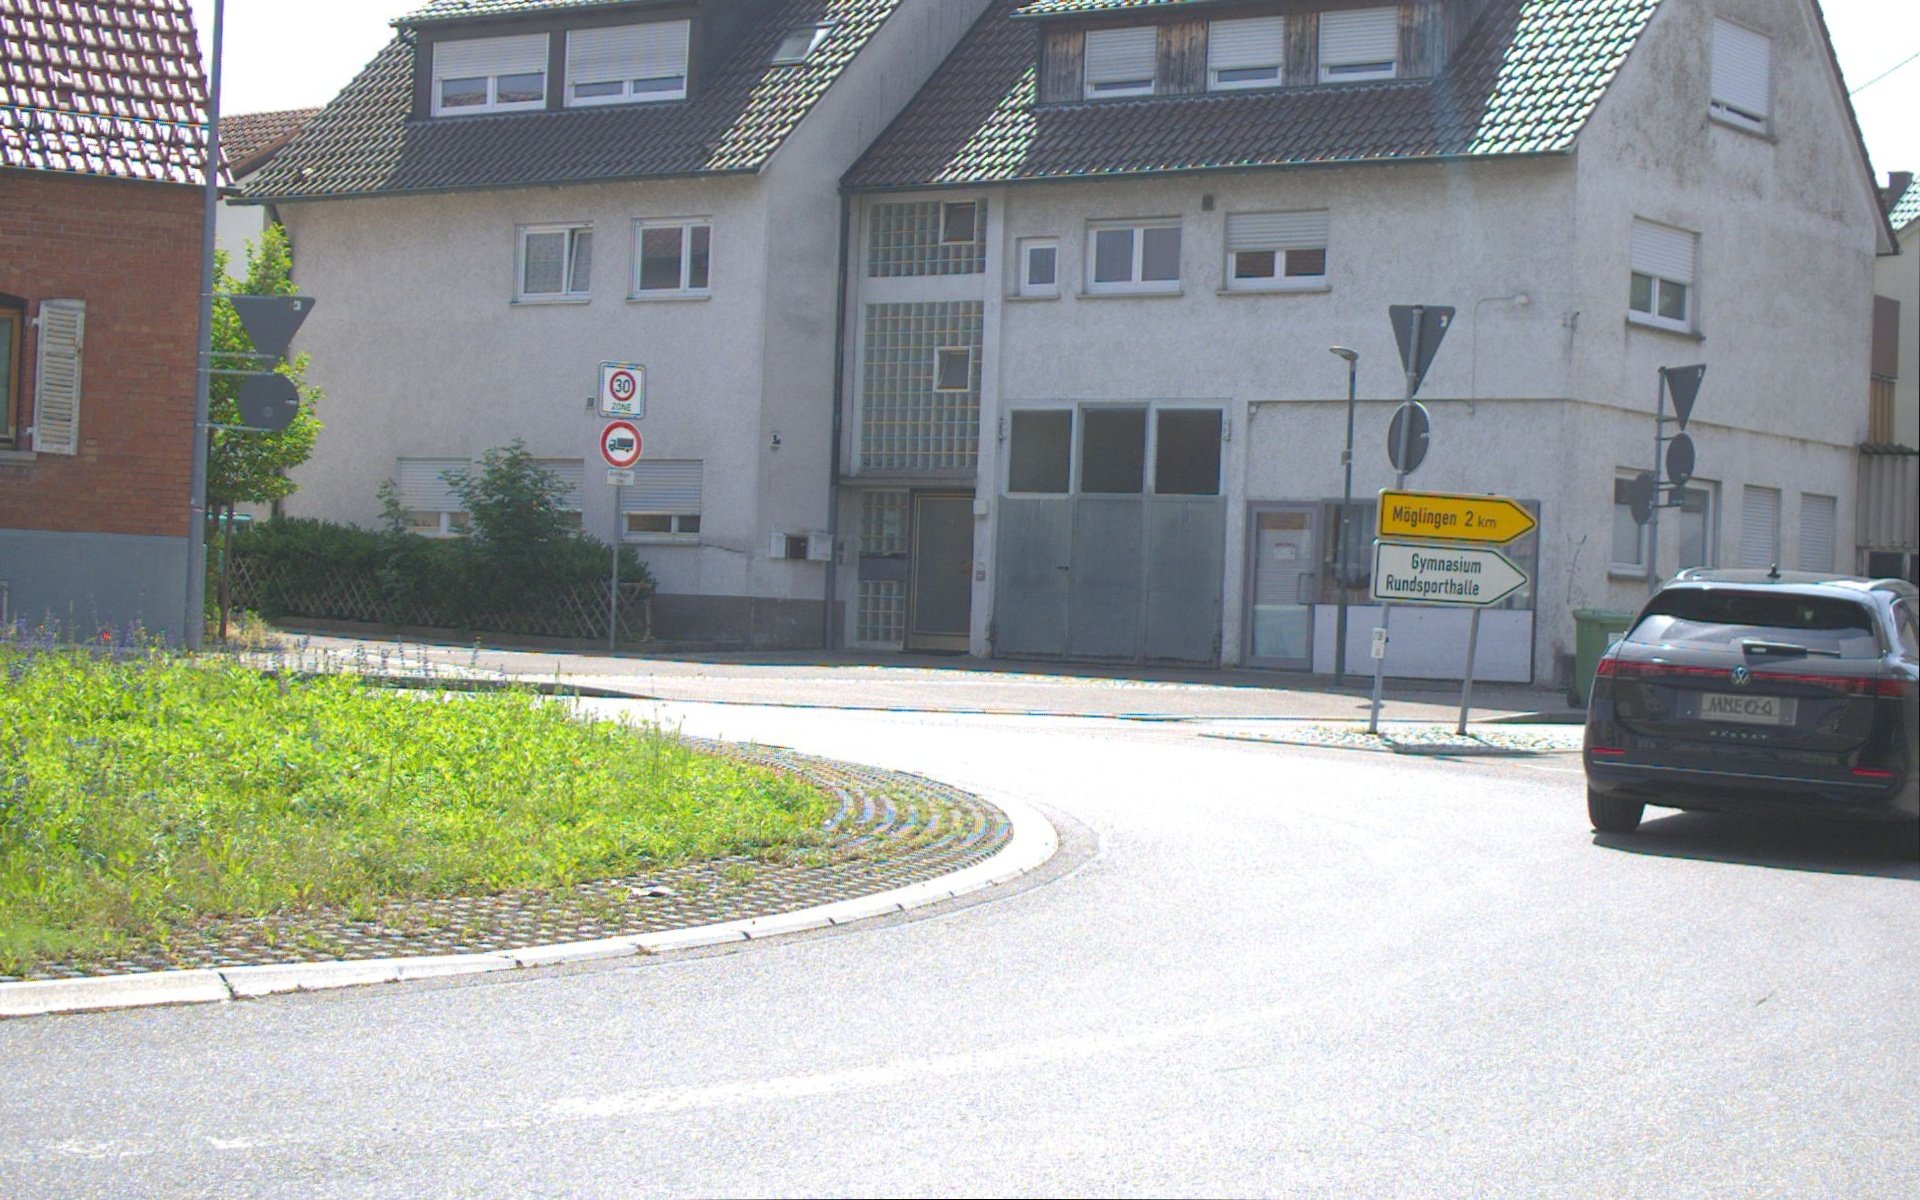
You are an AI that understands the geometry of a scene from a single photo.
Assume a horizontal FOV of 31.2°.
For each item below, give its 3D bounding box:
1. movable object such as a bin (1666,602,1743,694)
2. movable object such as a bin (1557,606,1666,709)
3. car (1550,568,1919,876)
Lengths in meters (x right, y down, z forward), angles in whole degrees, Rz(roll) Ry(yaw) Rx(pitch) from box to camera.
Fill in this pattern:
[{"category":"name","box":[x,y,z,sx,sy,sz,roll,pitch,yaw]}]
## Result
[{"category":"movable object such as a bin","box":[9.144,0.587,42.222,0.684,1.082,0.643,3,1,35]},{"category":"movable object such as a bin","box":[6.969,0.610,36.800,0.824,1.041,0.811,2,1,-18]},{"category":"car","box":[4.723,0.578,19.049,1.843,1.415,4.677,3,1,22]}]
